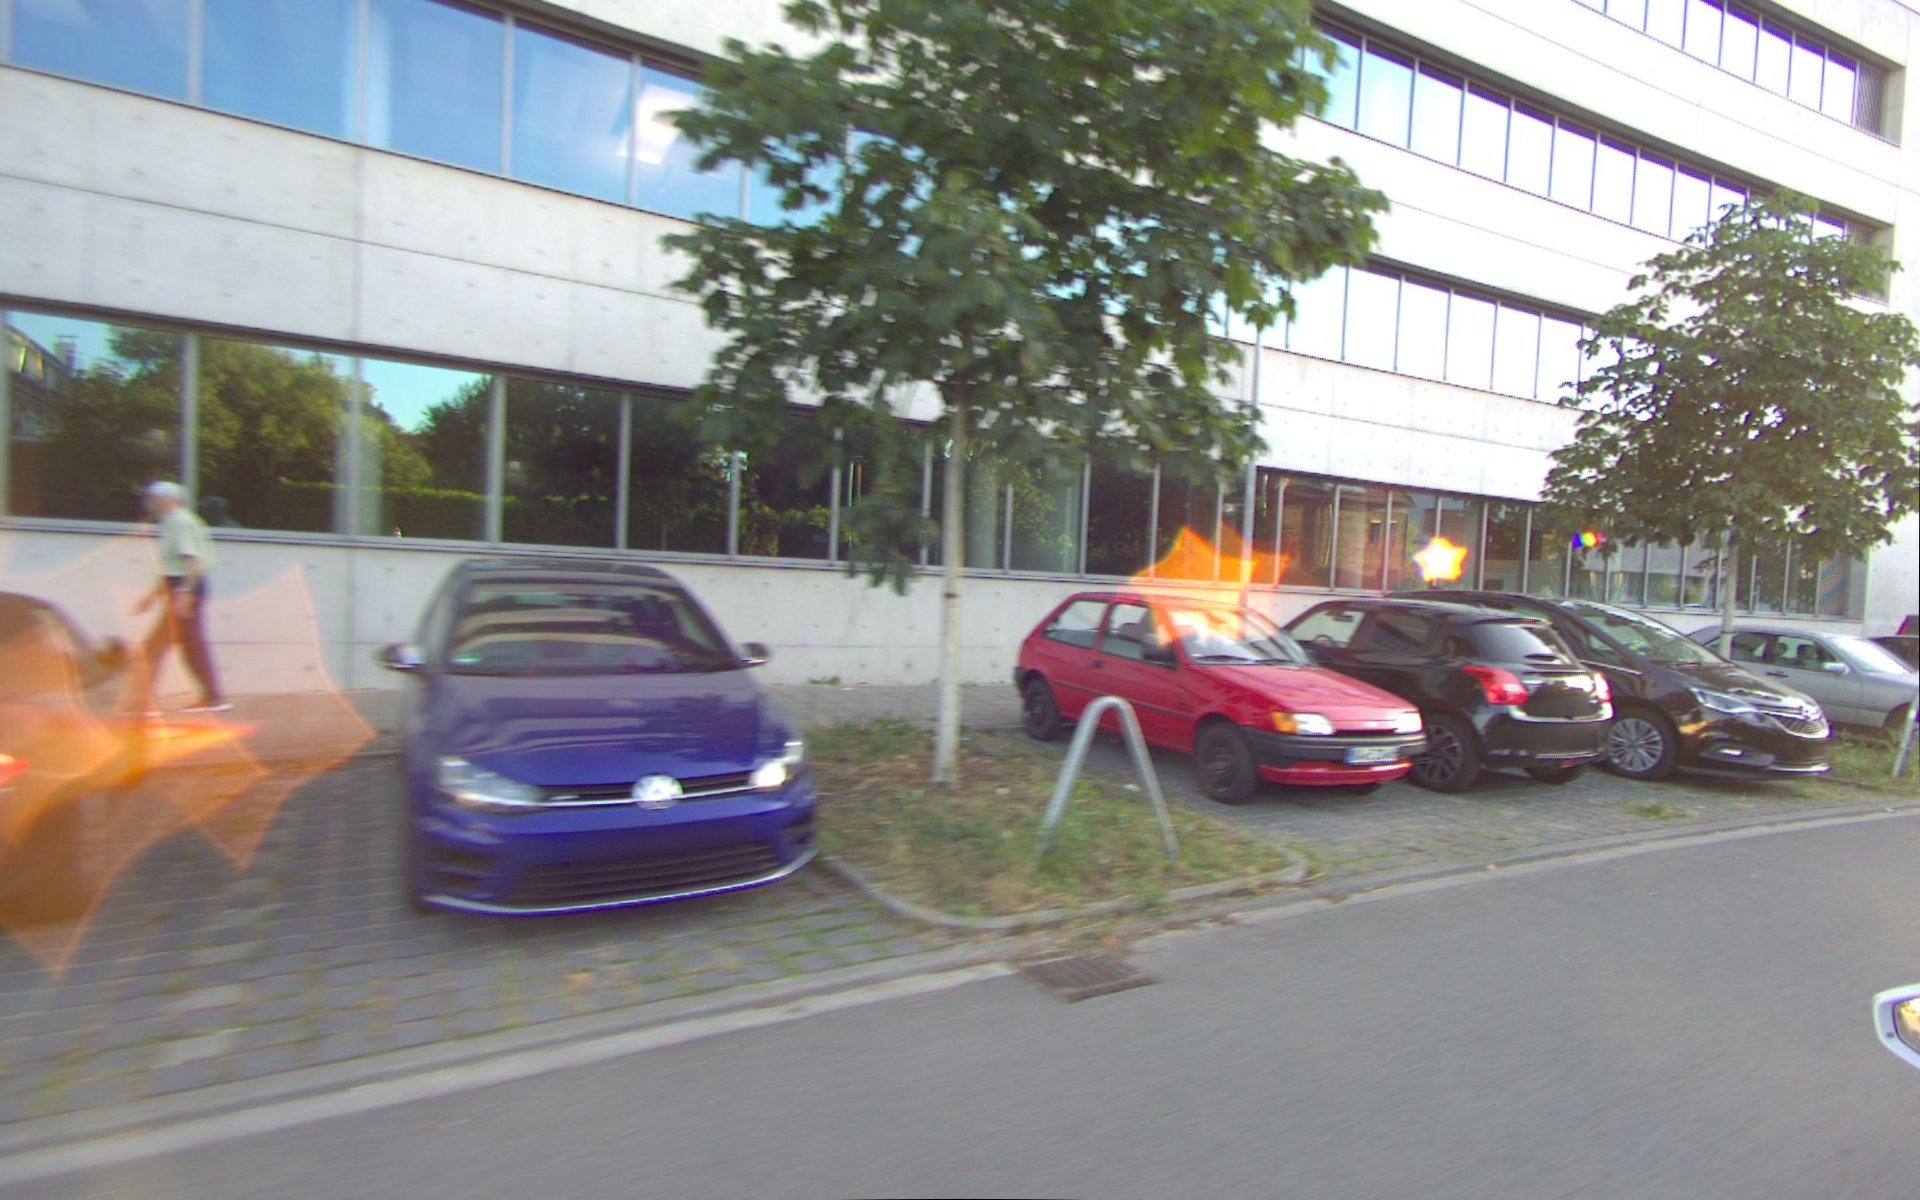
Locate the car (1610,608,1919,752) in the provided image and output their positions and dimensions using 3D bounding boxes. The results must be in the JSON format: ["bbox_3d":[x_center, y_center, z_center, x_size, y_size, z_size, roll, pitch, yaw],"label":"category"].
[{"bbox_3d":[11.410,0.979,13.312,1.739,1.484,4.420,1,2,-25],"label":"car"}]

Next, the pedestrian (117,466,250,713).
[{"bbox_3d":[-6.012,-0.082,7.814,0.717,1.808,0.642,1,3,-31],"label":"pedestrian"}]

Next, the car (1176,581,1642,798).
[{"bbox_3d":[3.917,0.659,9.407,1.658,1.477,3.686,2,2,-28],"label":"car"}]

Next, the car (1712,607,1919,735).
[{"bbox_3d":[13.634,1.070,14.273,1.737,1.519,4.389,3,3,-21],"label":"car"}]

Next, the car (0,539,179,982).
[{"bbox_3d":[-4.612,0.449,4.426,1.669,1.380,3.608,1,3,-35],"label":"car"}]

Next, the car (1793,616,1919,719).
[{"bbox_3d":[15.679,1.176,15.346,1.701,1.423,4.131,3,3,-25],"label":"car"}]

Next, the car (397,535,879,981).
[{"bbox_3d":[-2.090,0.460,5.583,1.739,1.532,3.850,1,3,-30],"label":"car"}]

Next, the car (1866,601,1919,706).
[{"bbox_3d":[17.993,1.105,16.457,1.701,1.766,4.233,3,3,-25],"label":"car"}]

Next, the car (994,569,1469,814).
[{"bbox_3d":[2.000,0.563,8.440,1.691,1.477,3.684,2,2,-30],"label":"car"}]

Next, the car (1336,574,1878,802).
[{"bbox_3d":[6.317,0.697,10.418,1.873,1.719,4.290,2,2,-28],"label":"car"}]
